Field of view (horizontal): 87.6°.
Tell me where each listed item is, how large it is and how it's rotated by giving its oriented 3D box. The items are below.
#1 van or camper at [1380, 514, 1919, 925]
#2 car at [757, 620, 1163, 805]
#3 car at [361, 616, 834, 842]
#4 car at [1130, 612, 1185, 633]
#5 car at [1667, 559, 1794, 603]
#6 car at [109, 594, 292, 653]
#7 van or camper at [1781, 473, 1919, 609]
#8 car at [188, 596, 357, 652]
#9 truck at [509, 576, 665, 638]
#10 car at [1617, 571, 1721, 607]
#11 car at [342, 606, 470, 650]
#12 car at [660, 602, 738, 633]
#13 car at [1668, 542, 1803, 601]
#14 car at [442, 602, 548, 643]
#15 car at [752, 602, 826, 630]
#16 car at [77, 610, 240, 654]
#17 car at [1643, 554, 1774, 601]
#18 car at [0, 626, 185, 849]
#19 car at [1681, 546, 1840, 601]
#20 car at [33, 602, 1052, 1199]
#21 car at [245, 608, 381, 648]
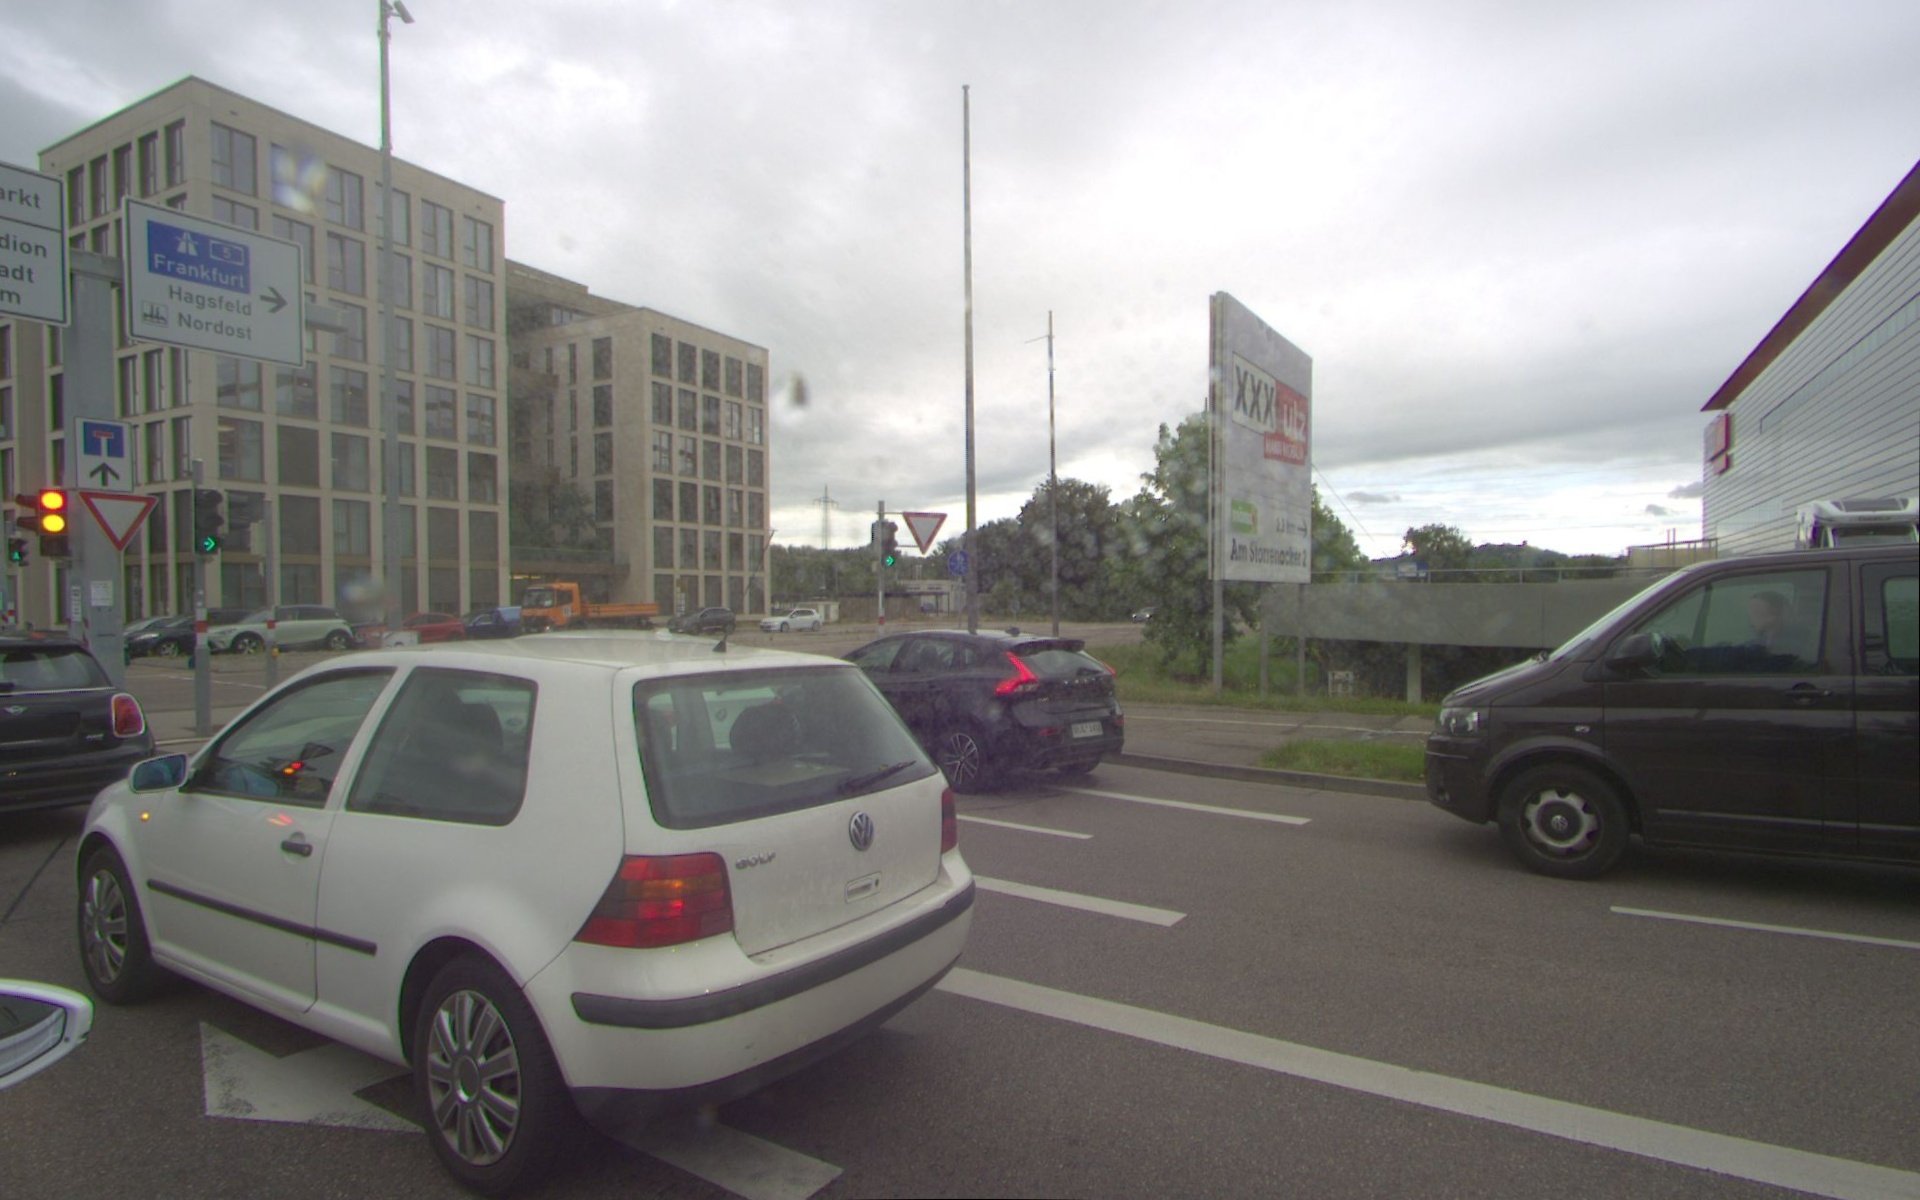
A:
[{"bbox_3d":[5.314,0.625,5.922,4.878,2.039,2.151,-2,-2,35],"label":"van or camper"},{"bbox_3d":[-0.189,0.979,10.192,1.885,1.467,4.144,1,-2,-41],"label":"car"},{"bbox_3d":[-3.157,0.891,8.363,4.146,1.428,1.822,-2,-2,38],"label":"car"},{"bbox_3d":[17.278,1.974,87.534,4.346,1.791,1.996,1,-2,-19],"label":"car"},{"bbox_3d":[33.359,-0.795,43.519,4.199,1.697,1.768,-1,-2,32],"label":"car"},{"bbox_3d":[-25.000,0.808,33.127,1.969,1.791,4.405,-1,-2,28],"label":"car"},{"bbox_3d":[25.384,-1.444,28.049,2.676,3.175,7.201,-1,-2,32],"label":"van or camper"},{"bbox_3d":[-21.876,0.781,32.032,1.875,1.664,4.055,-1,-2,27],"label":"car"},{"bbox_3d":[-17.329,0.435,46.981,2.779,2.672,6.647,-1,-2,30],"label":"truck"},{"bbox_3d":[36.369,-0.541,51.499,4.199,1.697,1.768,-1,-2,32],"label":"car"},{"bbox_3d":[-21.632,1.128,39.246,1.970,1.622,3.984,-1,-2,29],"label":"car"},{"bbox_3d":[-15.046,1.042,57.847,1.972,1.678,4.098,-1,-2,33],"label":"car"},{"bbox_3d":[30.020,-1.059,38.921,3.945,2.039,1.989,-1,-2,34],"label":"car"},{"bbox_3d":[-21.498,1.062,46.434,1.969,1.791,4.134,-1,-2,28],"label":"car"},{"bbox_3d":[-10.761,1.035,63.183,1.977,1.678,4.326,-2,-2,41],"label":"car"},{"bbox_3d":[-27.754,1.121,34.826,1.724,1.450,4.083,-1,-2,28],"label":"car"},{"bbox_3d":[30.951,-0.888,41.566,4.199,1.697,1.768,-1,-2,32],"label":"car"},{"bbox_3d":[-7.632,0.931,7.523,3.592,1.433,1.783,-2,-2,33],"label":"car"},{"bbox_3d":[28.401,-0.894,35.720,4.199,1.697,1.768,-1,-2,32],"label":"car"},{"bbox_3d":[-1.803,0.823,3.992,3.948,1.496,1.829,-1,-2,32],"label":"car"},{"bbox_3d":[-25.252,1.115,39.236,1.843,1.509,4.134,-1,-2,28],"label":"car"}]
